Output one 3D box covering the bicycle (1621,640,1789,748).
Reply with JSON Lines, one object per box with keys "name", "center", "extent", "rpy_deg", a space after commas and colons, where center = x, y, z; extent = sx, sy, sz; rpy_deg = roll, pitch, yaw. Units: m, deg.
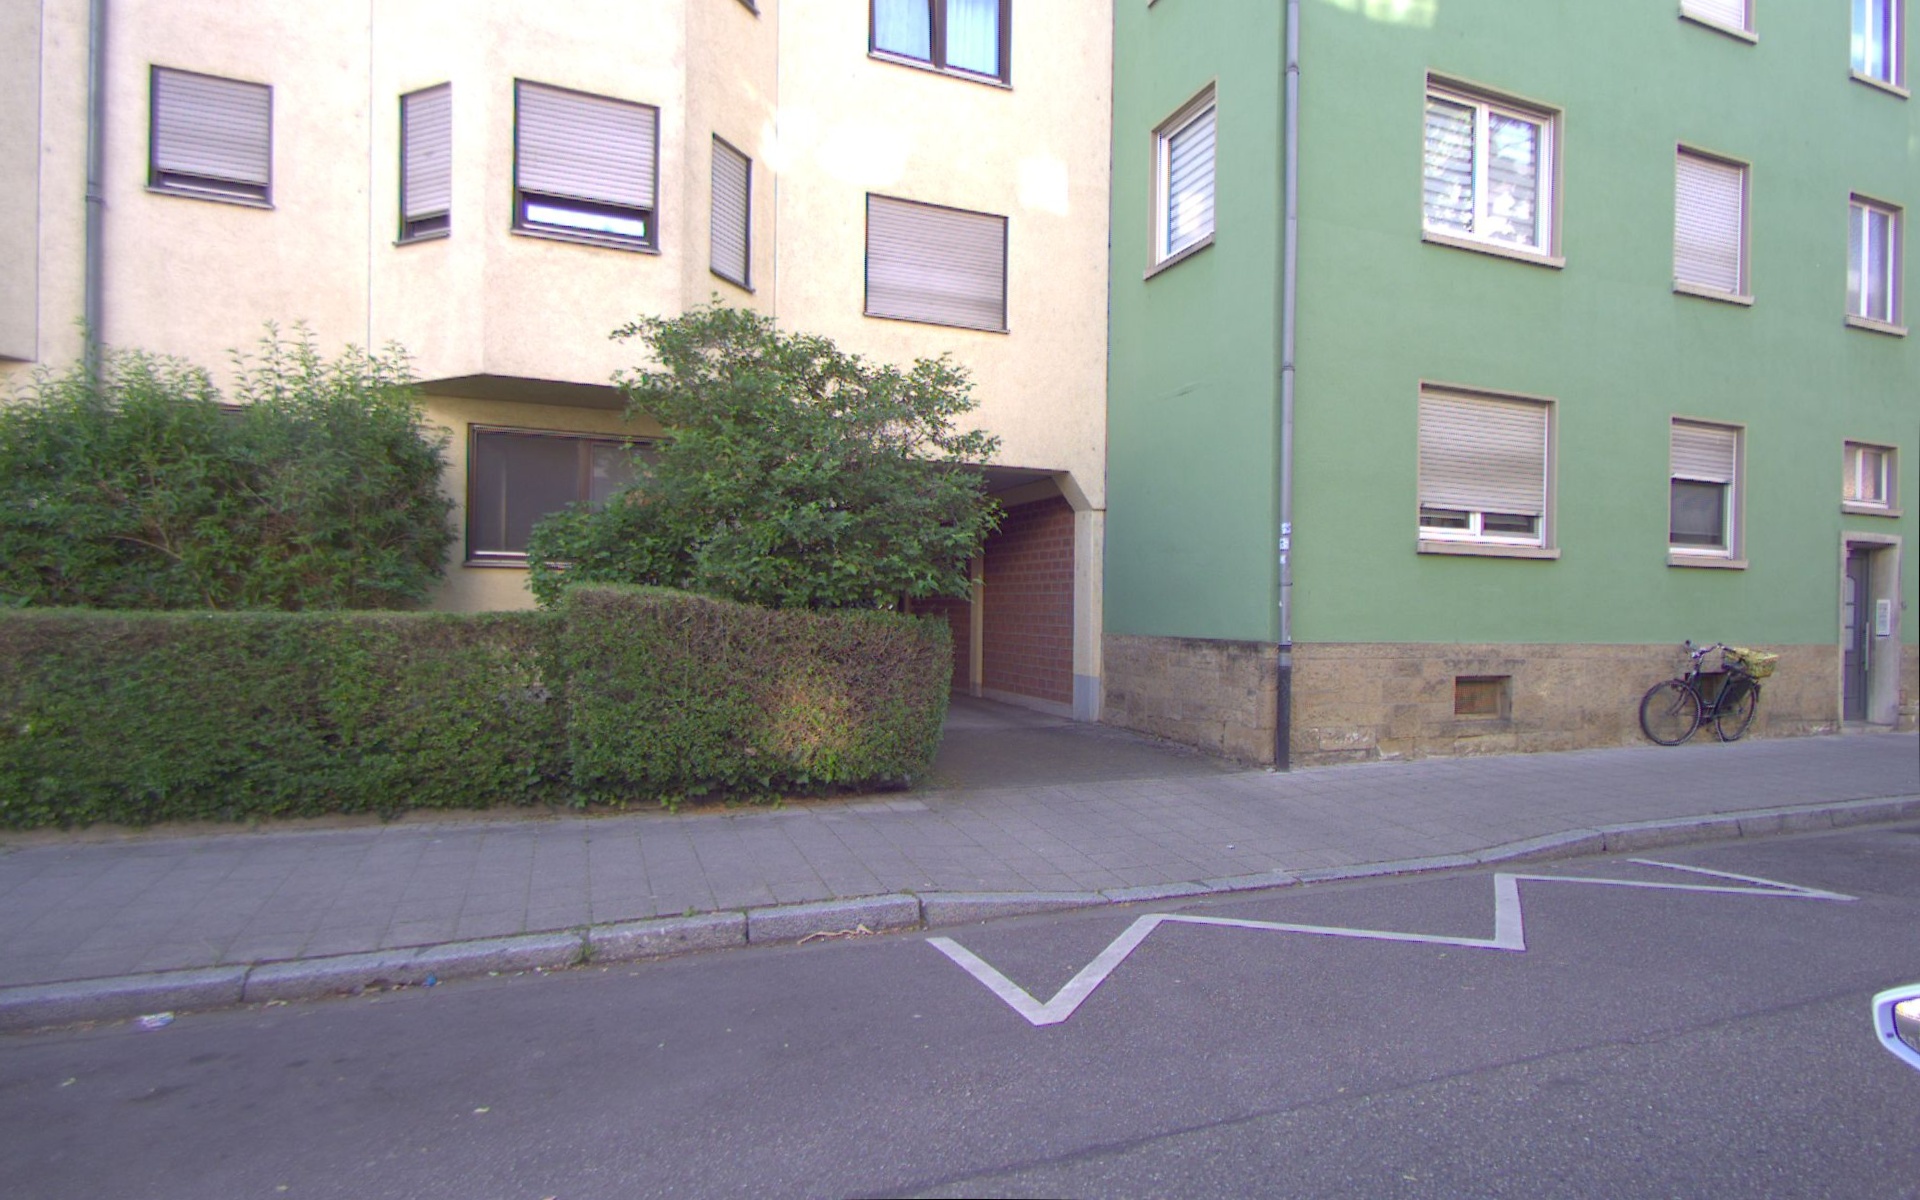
{"name": "bicycle", "center": [8.234, 1.019, 11.093], "extent": [1.941, 1.090, 0.485], "rpy_deg": [1, 3, -22]}
